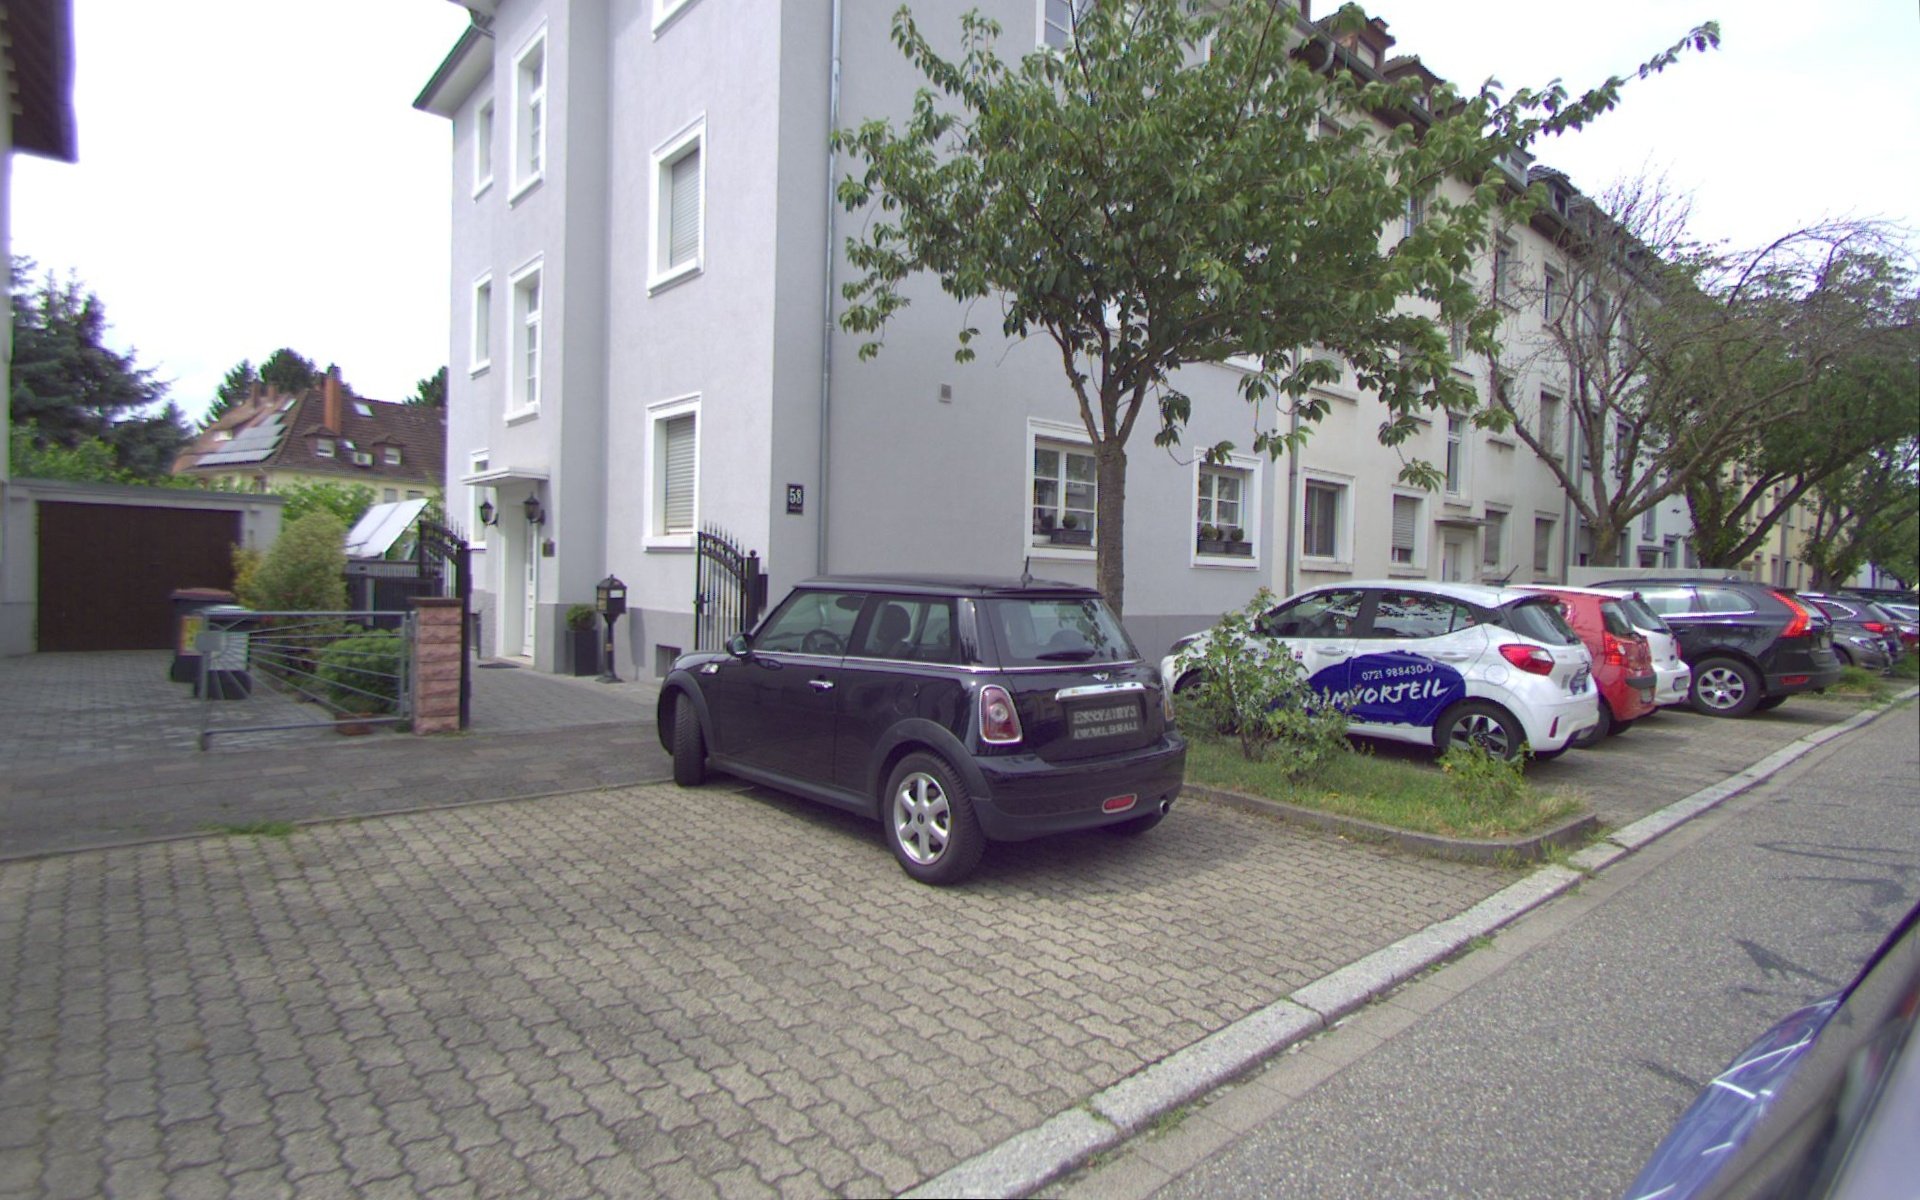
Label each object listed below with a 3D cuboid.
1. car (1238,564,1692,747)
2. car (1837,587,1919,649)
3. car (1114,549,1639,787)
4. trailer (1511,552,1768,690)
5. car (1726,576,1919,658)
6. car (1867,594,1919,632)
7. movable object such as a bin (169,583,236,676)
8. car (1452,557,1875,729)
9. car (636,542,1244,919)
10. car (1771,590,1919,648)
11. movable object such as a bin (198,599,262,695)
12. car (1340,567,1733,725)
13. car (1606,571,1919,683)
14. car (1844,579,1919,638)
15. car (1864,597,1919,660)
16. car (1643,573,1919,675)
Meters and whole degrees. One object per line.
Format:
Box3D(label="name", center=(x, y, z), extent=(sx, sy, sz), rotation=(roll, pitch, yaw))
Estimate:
Box3D(label="car", center=(5.270, 0.434, 10.953), extent=(1.739, 1.427, 3.993), rotation=(0, 4, -43))
Box3D(label="car", center=(26.362, 0.545, 27.190), extent=(1.610, 1.554, 3.996), rotation=(0, 4, -41))
Box3D(label="car", center=(3.556, 0.406, 9.190), extent=(1.739, 1.548, 3.993), rotation=(0, 4, -43))
Box3D(label="trailer", center=(10.556, 0.245, 15.875), extent=(1.375, 1.853, 2.971), rotation=(1, 4, -37))
Box3D(label="car", center=(21.969, 0.371, 25.212), extent=(1.869, 1.698, 4.227), rotation=(0, 4, -39))
Box3D(label="car", center=(42.688, 0.643, 44.040), extent=(1.819, 1.528, 4.555), rotation=(0, 4, -43))
Box3D(label="movable object such as a bin", center=(-8.758, 0.330, 11.711), extent=(0.596, 1.021, 0.515), rotation=(1, 2, -36))
Box3D(label="car", center=(9.183, 0.414, 13.545), extent=(1.869, 1.756, 4.227), rotation=(0, 4, -39))
Box3D(label="car", center=(-0.351, 0.469, 6.127), extent=(1.778, 1.470, 3.550), rotation=(0, 4, -41))
Box3D(label="car", center=(27.077, 0.540, 30.368), extent=(1.610, 1.437, 3.996), rotation=(0, 4, -41))
Box3D(label="movable object such as a bin", center=(-7.383, 0.460, 10.232), extent=(0.471, 0.911, 0.514), rotation=(1, 2, -41))
Box3D(label="car", center=(6.937, 0.425, 12.471), extent=(1.831, 1.459, 3.757), rotation=(0, 4, -40))
Box3D(label="car", center=(14.659, 0.397, 18.663), extent=(1.872, 1.617, 4.222), rotation=(0, 4, -43))
Box3D(label="car", center=(36.298, 0.418, 37.395), extent=(2.040, 2.047, 5.235), rotation=(0, 4, -45))
Box3D(label="car", center=(25.052, 0.811, 24.870), extent=(1.736, 1.472, 3.996), rotation=(0, 4, -41))
Box3D(label="car", center=(16.564, 0.390, 20.428), extent=(1.872, 1.617, 4.222), rotation=(0, 4, -43))
